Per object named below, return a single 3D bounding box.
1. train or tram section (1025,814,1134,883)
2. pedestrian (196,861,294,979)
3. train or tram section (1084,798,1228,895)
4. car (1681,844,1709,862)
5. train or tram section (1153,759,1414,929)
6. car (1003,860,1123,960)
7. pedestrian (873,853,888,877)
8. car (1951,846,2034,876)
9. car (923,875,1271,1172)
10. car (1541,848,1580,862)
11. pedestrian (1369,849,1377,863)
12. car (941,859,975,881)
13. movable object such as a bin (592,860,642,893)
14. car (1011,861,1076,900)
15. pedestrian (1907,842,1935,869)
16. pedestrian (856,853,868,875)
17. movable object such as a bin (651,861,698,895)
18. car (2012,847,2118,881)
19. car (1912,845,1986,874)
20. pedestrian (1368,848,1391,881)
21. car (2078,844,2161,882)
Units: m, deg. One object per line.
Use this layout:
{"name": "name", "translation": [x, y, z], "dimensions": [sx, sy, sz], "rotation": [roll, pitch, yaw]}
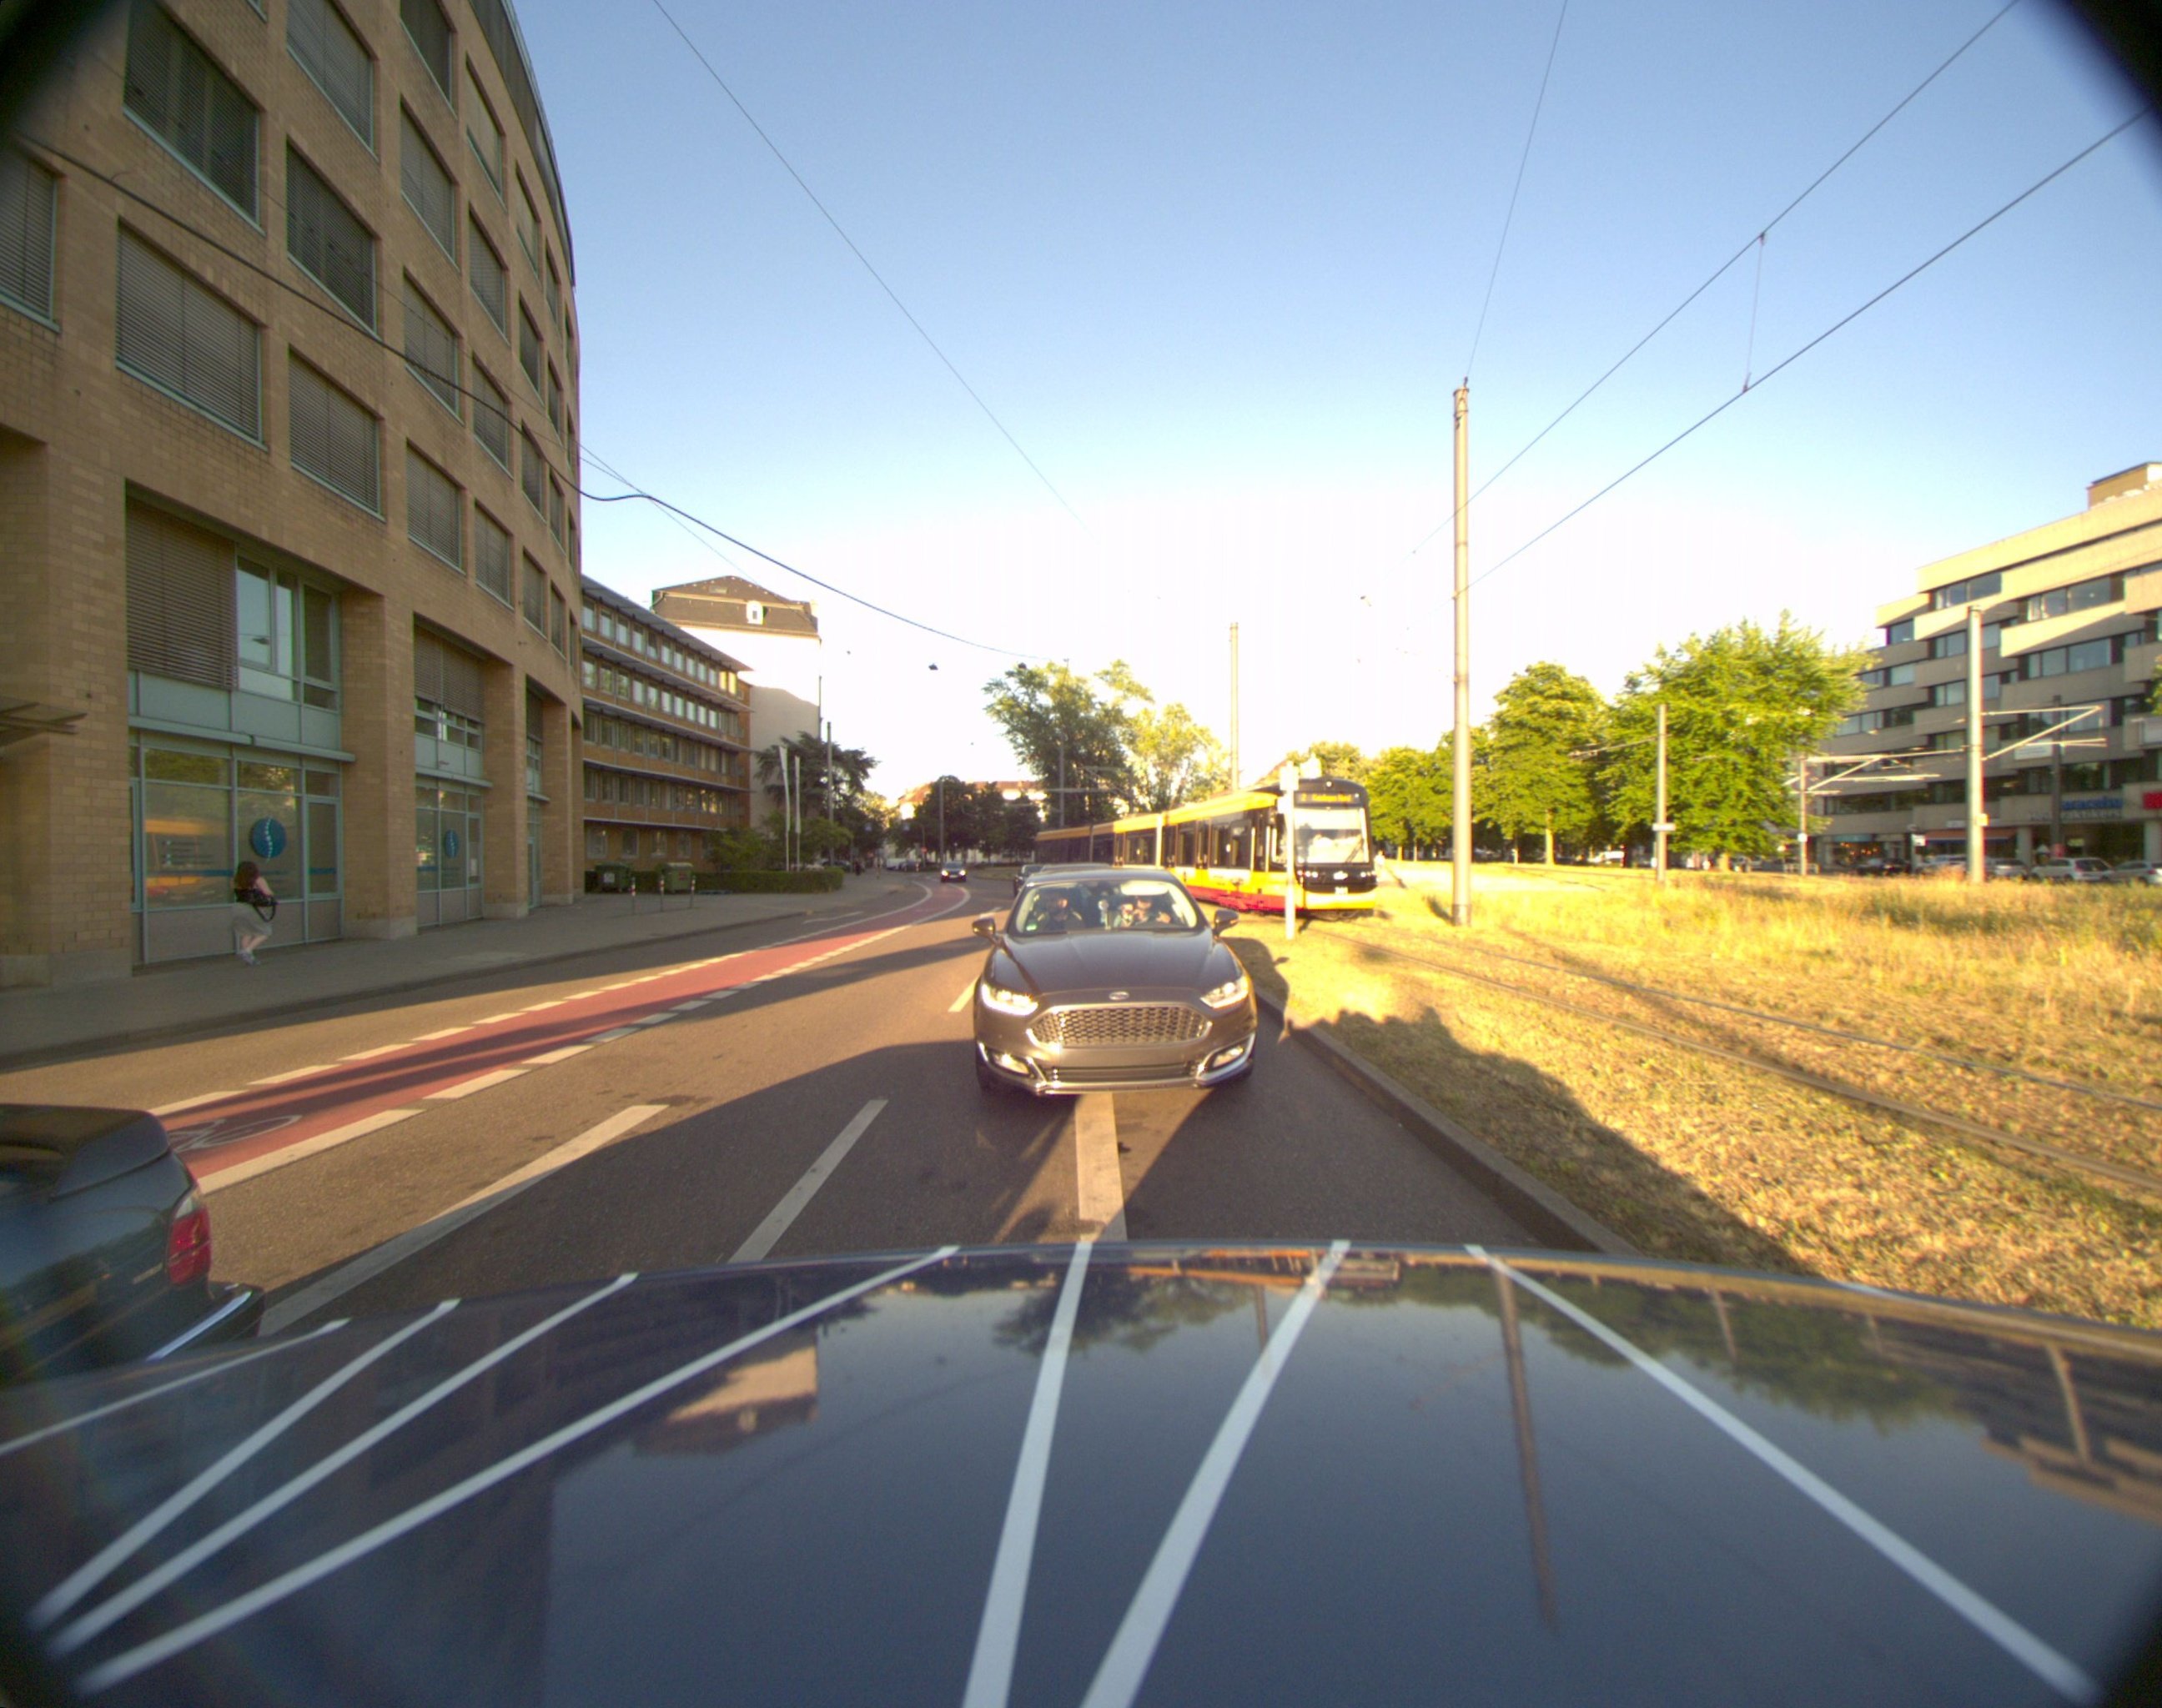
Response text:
{"name": "train or tram section", "translation": [-0.461, -0.307, 47.452], "dimensions": [2.917, 3.717, 12.171], "rotation": [-1, 0, -19]}
{"name": "pedestrian", "translation": [-12.335, 0.946, 11.233], "dimensions": [0.628, 1.672, 0.713], "rotation": [-1, 1, -3]}
{"name": "train or tram section", "translation": [2.987, -0.304, 35.439], "dimensions": [2.888, 3.717, 12.169], "rotation": [-1, 0, -13]}
{"name": "car", "translation": [72.053, -0.152, 89.216], "dimensions": [1.995, 2.002, 4.007], "rotation": [-2, 1, 32]}
{"name": "train or tram section", "translation": [5.140, -0.244, 23.317], "dimensions": [2.918, 3.717, 13.209], "rotation": [-1, 0, -7]}
{"name": "car", "translation": [-0.240, 0.915, 14.427], "dimensions": [1.897, 1.526, 4.705], "rotation": [-1, 0, 1]}
{"name": "pedestrian", "translation": [-16.459, 0.891, 62.420], "dimensions": [0.913, 1.883, 1.124], "rotation": [-1, 1, -30]}
{"name": "car", "translation": [58.825, 0.433, 49.143], "dimensions": [1.995, 1.868, 4.007], "rotation": [0, 0, 27]}
{"name": "car", "translation": [0.127, 0.996, 6.509], "dimensions": [1.890, 1.477, 4.725], "rotation": [0, 0, 1]}
{"name": "car", "translation": [59.113, 0.130, 93.728], "dimensions": [3.989, 1.745, 1.972], "rotation": [-1, 0, 31]}
{"name": "pedestrian", "translation": [35.909, 0.212, 93.467], "dimensions": [0.711, 1.660, 0.635], "rotation": [-1, 1, 1]}
{"name": "car", "translation": [-8.779, 1.124, 54.584], "dimensions": [1.759, 1.379, 3.999], "rotation": [-2, 0, -1]}
{"name": "movable object such as a bin", "translation": [-21.190, 1.032, 34.741], "dimensions": [1.427, 1.450, 1.332], "rotation": [-1, 0, -2]}
{"name": "car", "translation": [-1.673, 1.051, 32.085], "dimensions": [2.001, 1.453, 4.138], "rotation": [-1, 0, -13]}
{"name": "pedestrian", "translation": [64.230, 0.107, 58.096], "dimensions": [1.138, 2.023, 0.892], "rotation": [-1, 1, 3]}
{"name": "pedestrian", "translation": [-17.899, 0.784, 62.189], "dimensions": [0.728, 1.797, 0.724], "rotation": [-1, 1, 1]}
{"name": "movable object such as a bin", "translation": [-18.273, 1.060, 34.182], "dimensions": [1.427, 1.450, 1.332], "rotation": [-1, 0, -3]}
{"name": "car", "translation": [56.311, 0.557, 43.590], "dimensions": [1.995, 1.868, 4.006], "rotation": [-1, 0, 22]}
{"name": "car", "translation": [61.328, 0.380, 53.774], "dimensions": [1.995, 1.925, 4.007], "rotation": [-1, 0, 24]}
{"name": "pedestrian", "translation": [15.698, 0.542, 39.954], "dimensions": [0.891, 1.718, 0.797], "rotation": [-1, 1, 1]}
{"name": "car", "translation": [54.091, 0.423, 38.935], "dimensions": [1.921, 1.853, 4.006], "rotation": [-1, 0, 23]}
